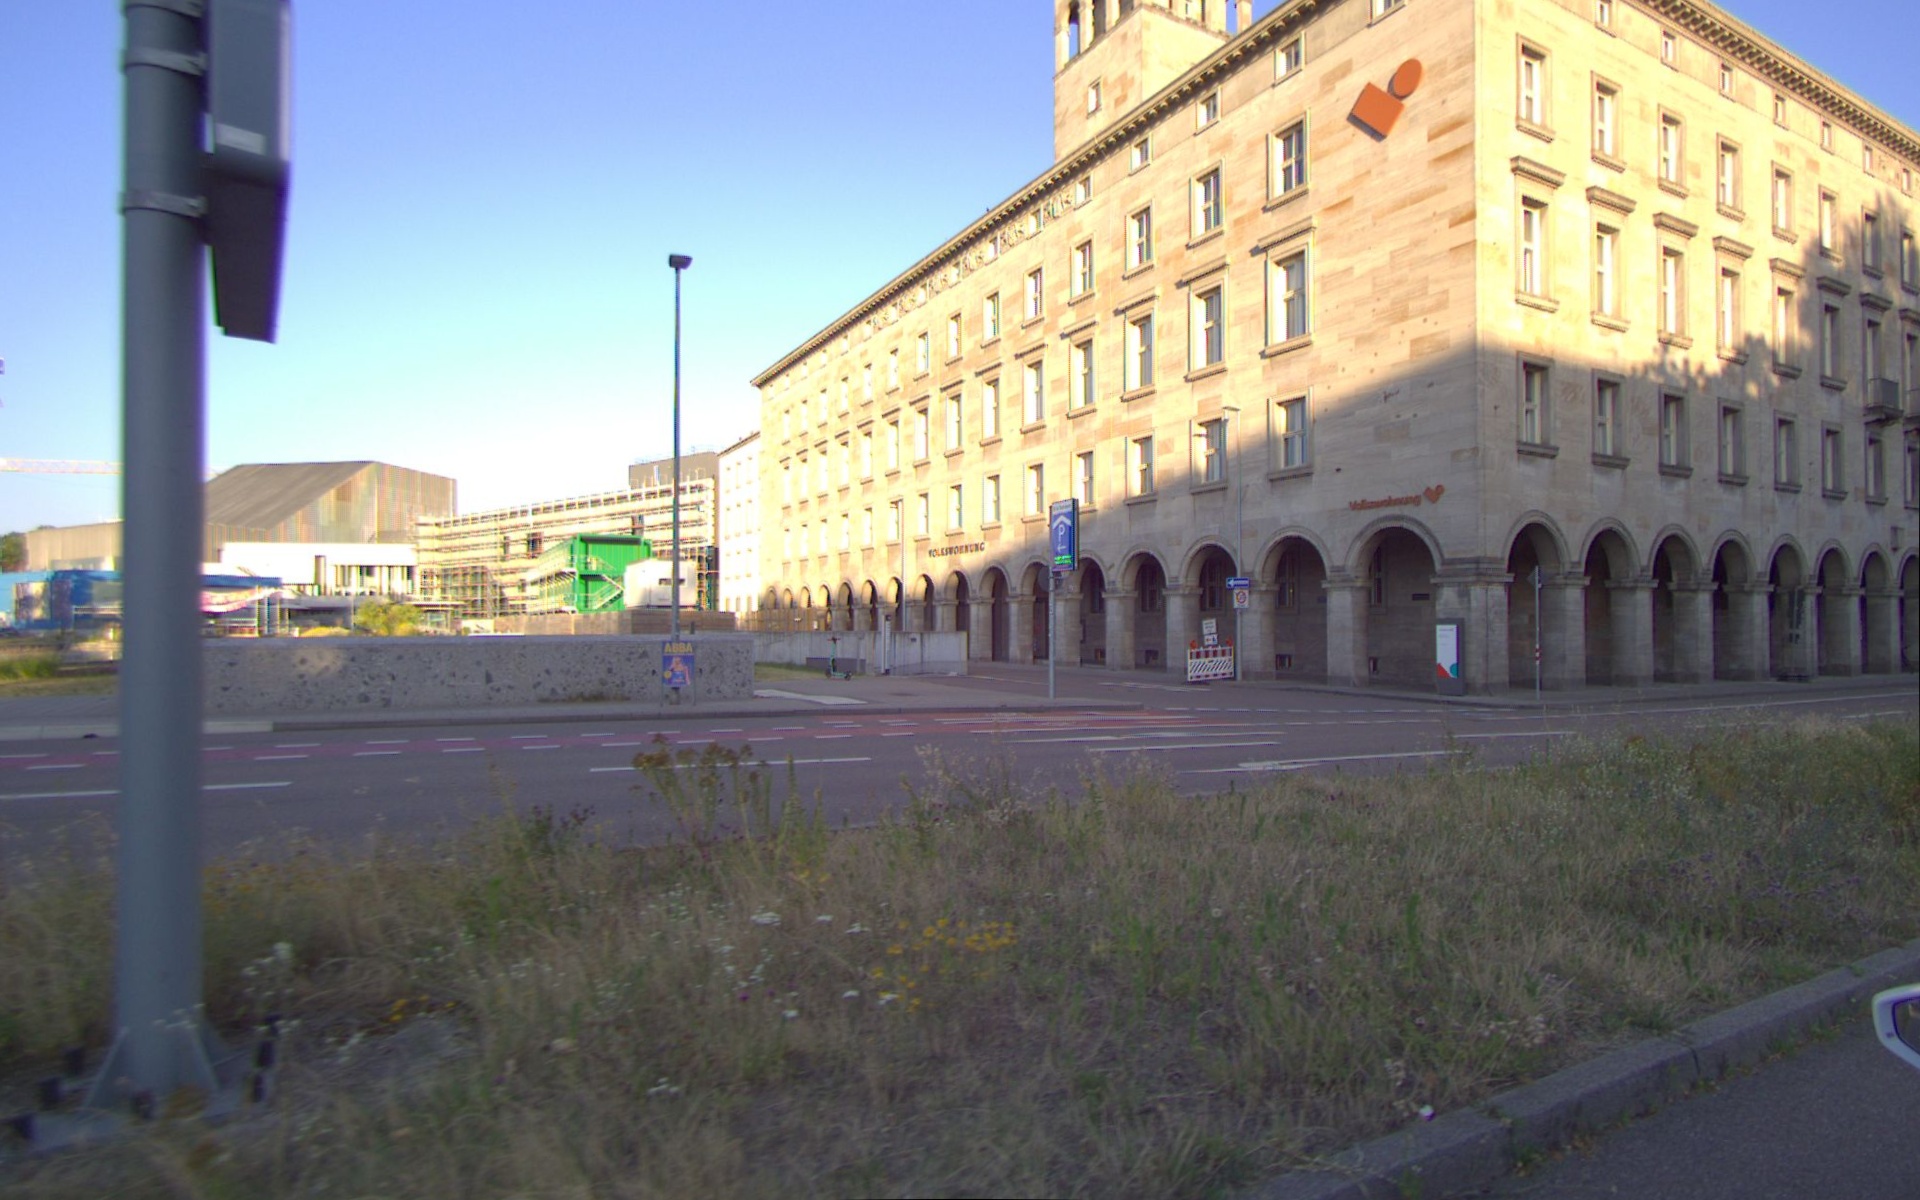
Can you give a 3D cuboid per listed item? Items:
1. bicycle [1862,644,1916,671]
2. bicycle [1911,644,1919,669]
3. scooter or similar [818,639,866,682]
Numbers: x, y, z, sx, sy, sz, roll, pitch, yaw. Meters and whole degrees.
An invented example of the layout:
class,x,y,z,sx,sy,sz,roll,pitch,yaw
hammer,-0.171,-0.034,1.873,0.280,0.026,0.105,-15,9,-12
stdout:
class,x,y,z,sx,sy,sz,roll,pitch,yaw
bicycle,36.252,2.241,39.211,1.969,1.019,0.478,0,-1,-11
bicycle,40.645,2.326,41.551,1.964,1.019,0.479,0,-1,6
scooter or similar,-3.528,1.800,29.933,1.544,1.240,0.543,-1,-2,42
